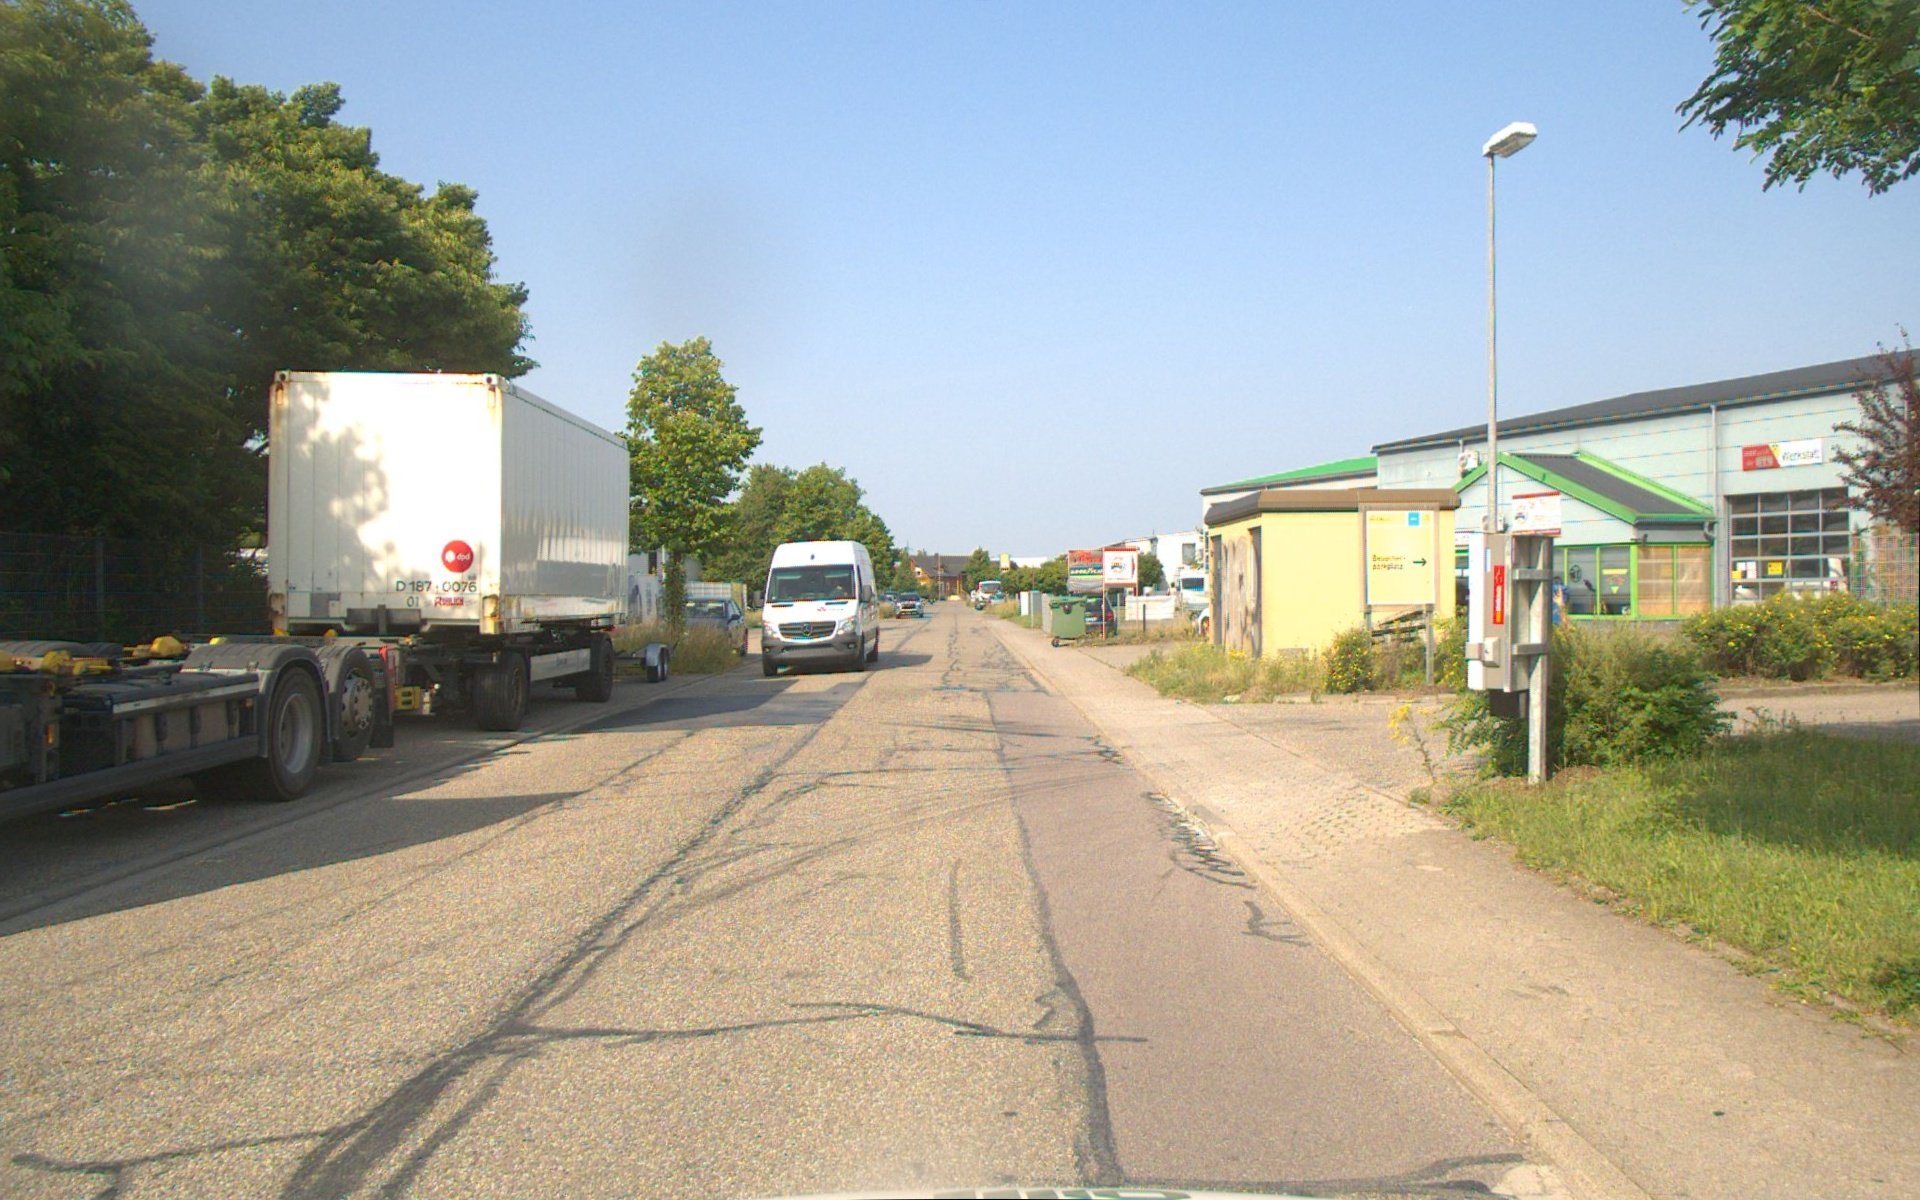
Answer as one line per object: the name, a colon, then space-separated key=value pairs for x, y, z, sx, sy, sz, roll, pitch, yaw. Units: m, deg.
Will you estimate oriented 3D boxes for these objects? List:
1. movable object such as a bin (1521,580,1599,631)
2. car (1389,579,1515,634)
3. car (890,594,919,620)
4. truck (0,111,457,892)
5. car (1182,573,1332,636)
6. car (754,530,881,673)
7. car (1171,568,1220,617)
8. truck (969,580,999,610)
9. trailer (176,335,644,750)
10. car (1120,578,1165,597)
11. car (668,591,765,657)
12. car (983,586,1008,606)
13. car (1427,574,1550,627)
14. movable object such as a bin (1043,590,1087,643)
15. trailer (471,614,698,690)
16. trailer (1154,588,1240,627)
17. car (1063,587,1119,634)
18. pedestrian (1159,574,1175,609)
movable object such as a bin: x=16.862 y=0.149 z=46.534 sx=0.983 sy=1.369 sz=1.995 roll=-1 pitch=1 yaw=-22
car: x=12.957 y=0.161 z=43.712 sx=1.558 sy=1.369 sz=3.167 roll=-1 pitch=1 yaw=-22
car: x=-3.652 y=0.434 z=108.810 sx=1.775 sy=1.655 sz=4.248 roll=-2 pitch=0 yaw=-1
truck: x=-6.182 y=-0.519 z=11.029 sx=2.657 sy=3.952 sz=9.636 roll=0 pitch=0 yaw=0
car: x=7.464 y=0.099 z=42.032 sx=1.665 sy=1.491 sz=4.230 roll=-1 pitch=0 yaw=-24
car: x=-2.825 y=-0.012 z=34.260 sx=1.953 sy=2.591 sz=6.989 roll=-2 pitch=1 yaw=0
car: x=13.788 y=-0.430 z=97.344 sx=1.934 sy=2.753 sz=5.880 roll=-1 pitch=0 yaw=-1
truck: x=2.208 y=-0.500 z=153.634 sx=2.312 sy=2.728 sz=6.506 roll=-1 pitch=1 yaw=-4
trailer: x=-6.191 y=-0.574 z=20.707 sx=2.645 sy=3.952 sz=9.764 roll=0 pitch=0 yaw=-1
car: x=16.568 y=-1.124 z=149.926 sx=1.659 sy=1.616 sz=4.501 roll=0 pitch=1 yaw=45
car: x=-5.863 y=0.541 z=40.185 sx=1.652 sy=1.496 sz=4.094 roll=-1 pitch=0 yaw=1
car: x=2.757 y=-0.328 z=129.646 sx=1.757 sy=1.544 sz=4.423 roll=-1 pitch=1 yaw=-1
car: x=14.433 y=-0.001 z=45.287 sx=1.558 sy=1.369 sz=3.167 roll=-1 pitch=1 yaw=-22
movable object such as a bin: x=2.885 y=0.444 z=45.501 sx=1.059 sy=1.377 sz=1.506 roll=-3 pitch=0 yaw=0
trailer: x=-6.292 y=0.829 z=28.699 sx=2.595 sy=1.002 sz=6.242 roll=-2 pitch=0 yaw=-1
trailer: x=7.882 y=0.237 z=55.152 sx=1.472 sy=1.270 sz=2.952 roll=0 pitch=0 yaw=-26
car: x=4.075 y=0.297 z=51.425 sx=1.638 sy=1.392 sz=4.396 roll=-1 pitch=0 yaw=4
pedestrian: x=9.965 y=-0.405 z=79.679 sx=0.688 sy=1.668 sz=0.749 roll=-1 pitch=0 yaw=1
